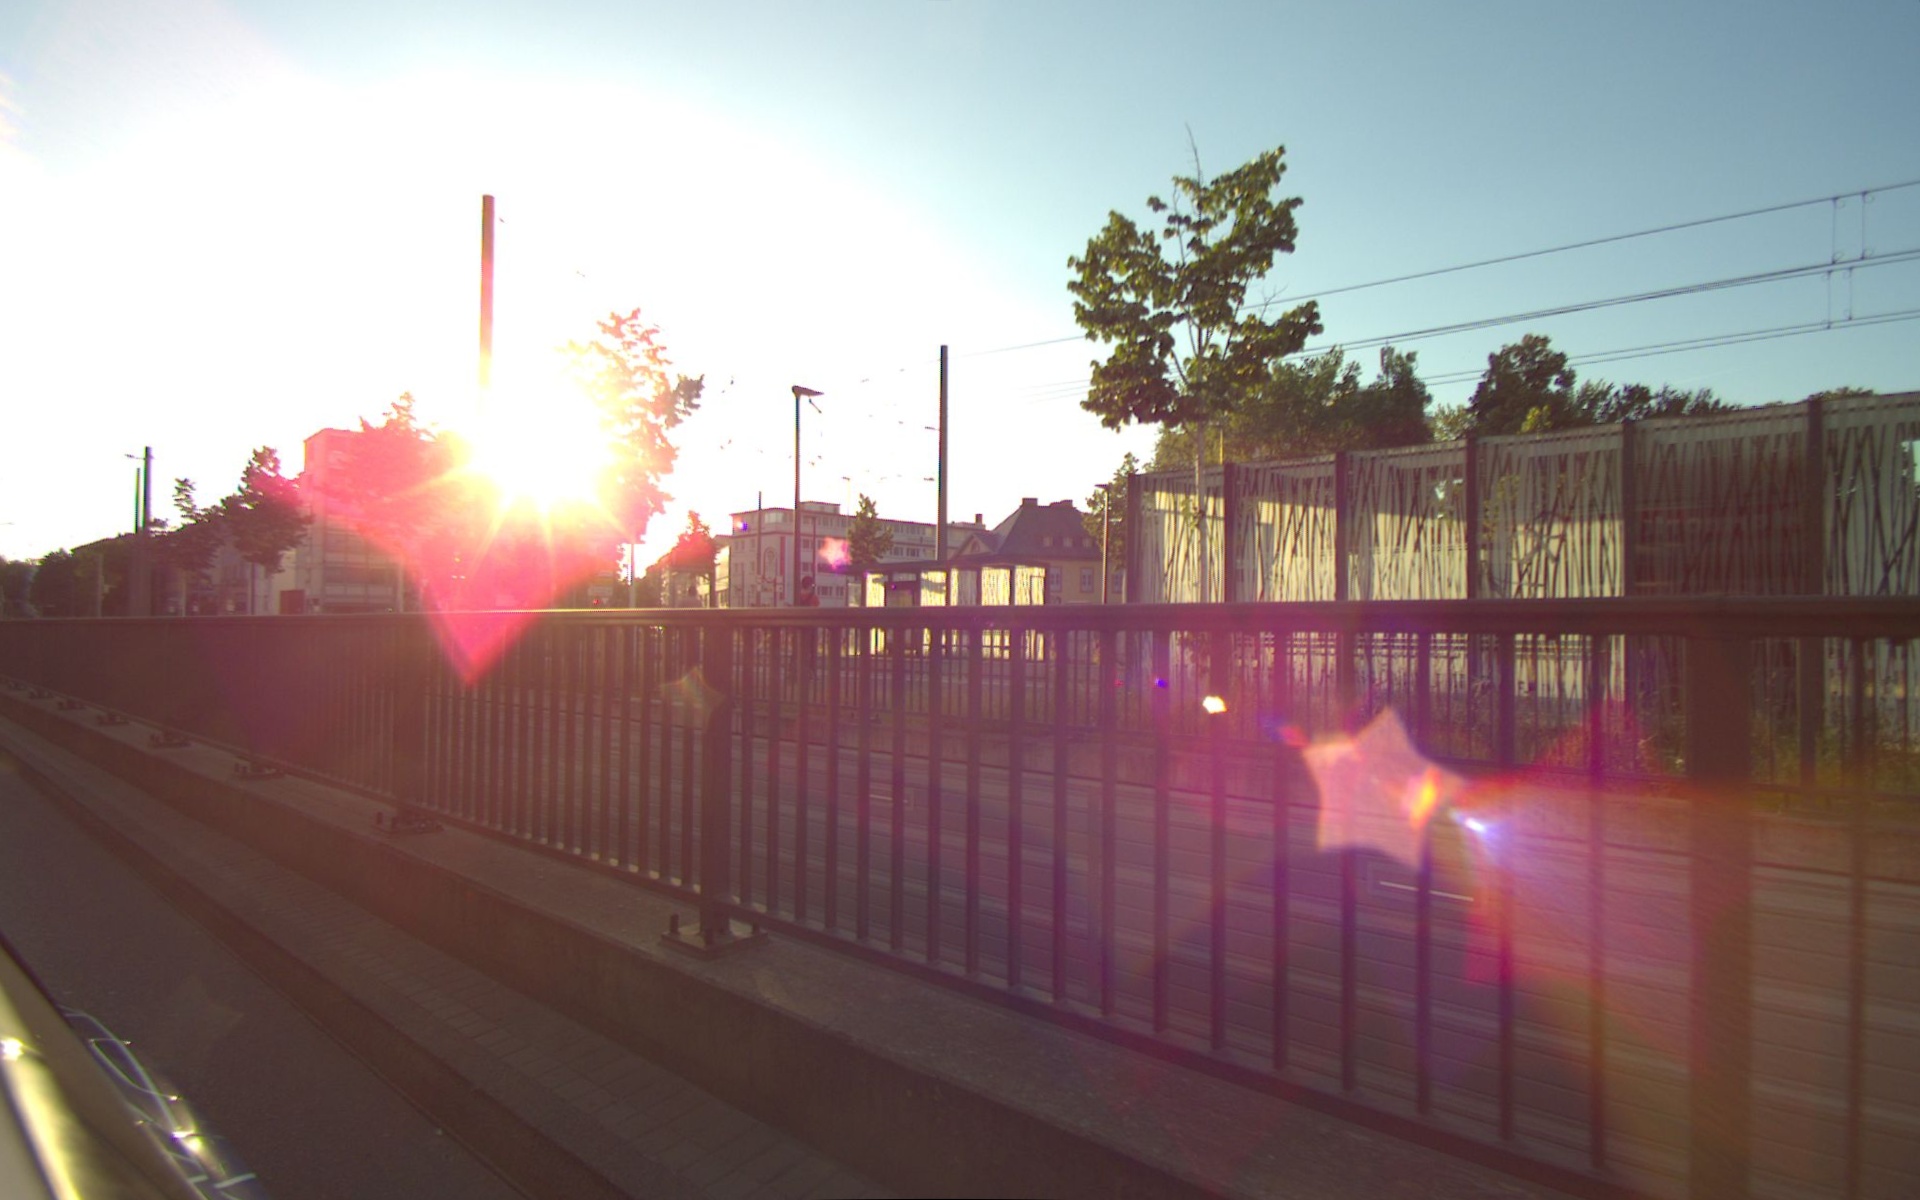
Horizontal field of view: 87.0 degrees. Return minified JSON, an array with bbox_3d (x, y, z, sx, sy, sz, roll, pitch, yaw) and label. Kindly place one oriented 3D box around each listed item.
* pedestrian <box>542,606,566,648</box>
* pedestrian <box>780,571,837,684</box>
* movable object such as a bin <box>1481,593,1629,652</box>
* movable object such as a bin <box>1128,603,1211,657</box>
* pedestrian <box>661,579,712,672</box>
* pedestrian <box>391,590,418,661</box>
[{"bbox_3d":[-17.744,1.171,44.217,0.817,1.812,0.686,-1,-2,43],"label":"pedestrian"},{"bbox_3d":[-2.409,0.437,16.126,0.633,1.742,0.630,-1,-2,29],"label":"pedestrian"},{"bbox_3d":[24.301,0.927,41.464,4.940,2.263,1.971,-1,-2,44],"label":"movable object such as a bin"},{"bbox_3d":[10.939,1.556,53.016,1.967,2.727,4.010,1,-2,-36],"label":"movable object such as a bin"},{"bbox_3d":[-5.266,0.494,19.487,0.634,1.758,0.719,-2,-2,33],"label":"pedestrian"},{"bbox_3d":[-14.382,0.658,26.212,0.465,1.800,0.627,1,-2,-41],"label":"pedestrian"}]
